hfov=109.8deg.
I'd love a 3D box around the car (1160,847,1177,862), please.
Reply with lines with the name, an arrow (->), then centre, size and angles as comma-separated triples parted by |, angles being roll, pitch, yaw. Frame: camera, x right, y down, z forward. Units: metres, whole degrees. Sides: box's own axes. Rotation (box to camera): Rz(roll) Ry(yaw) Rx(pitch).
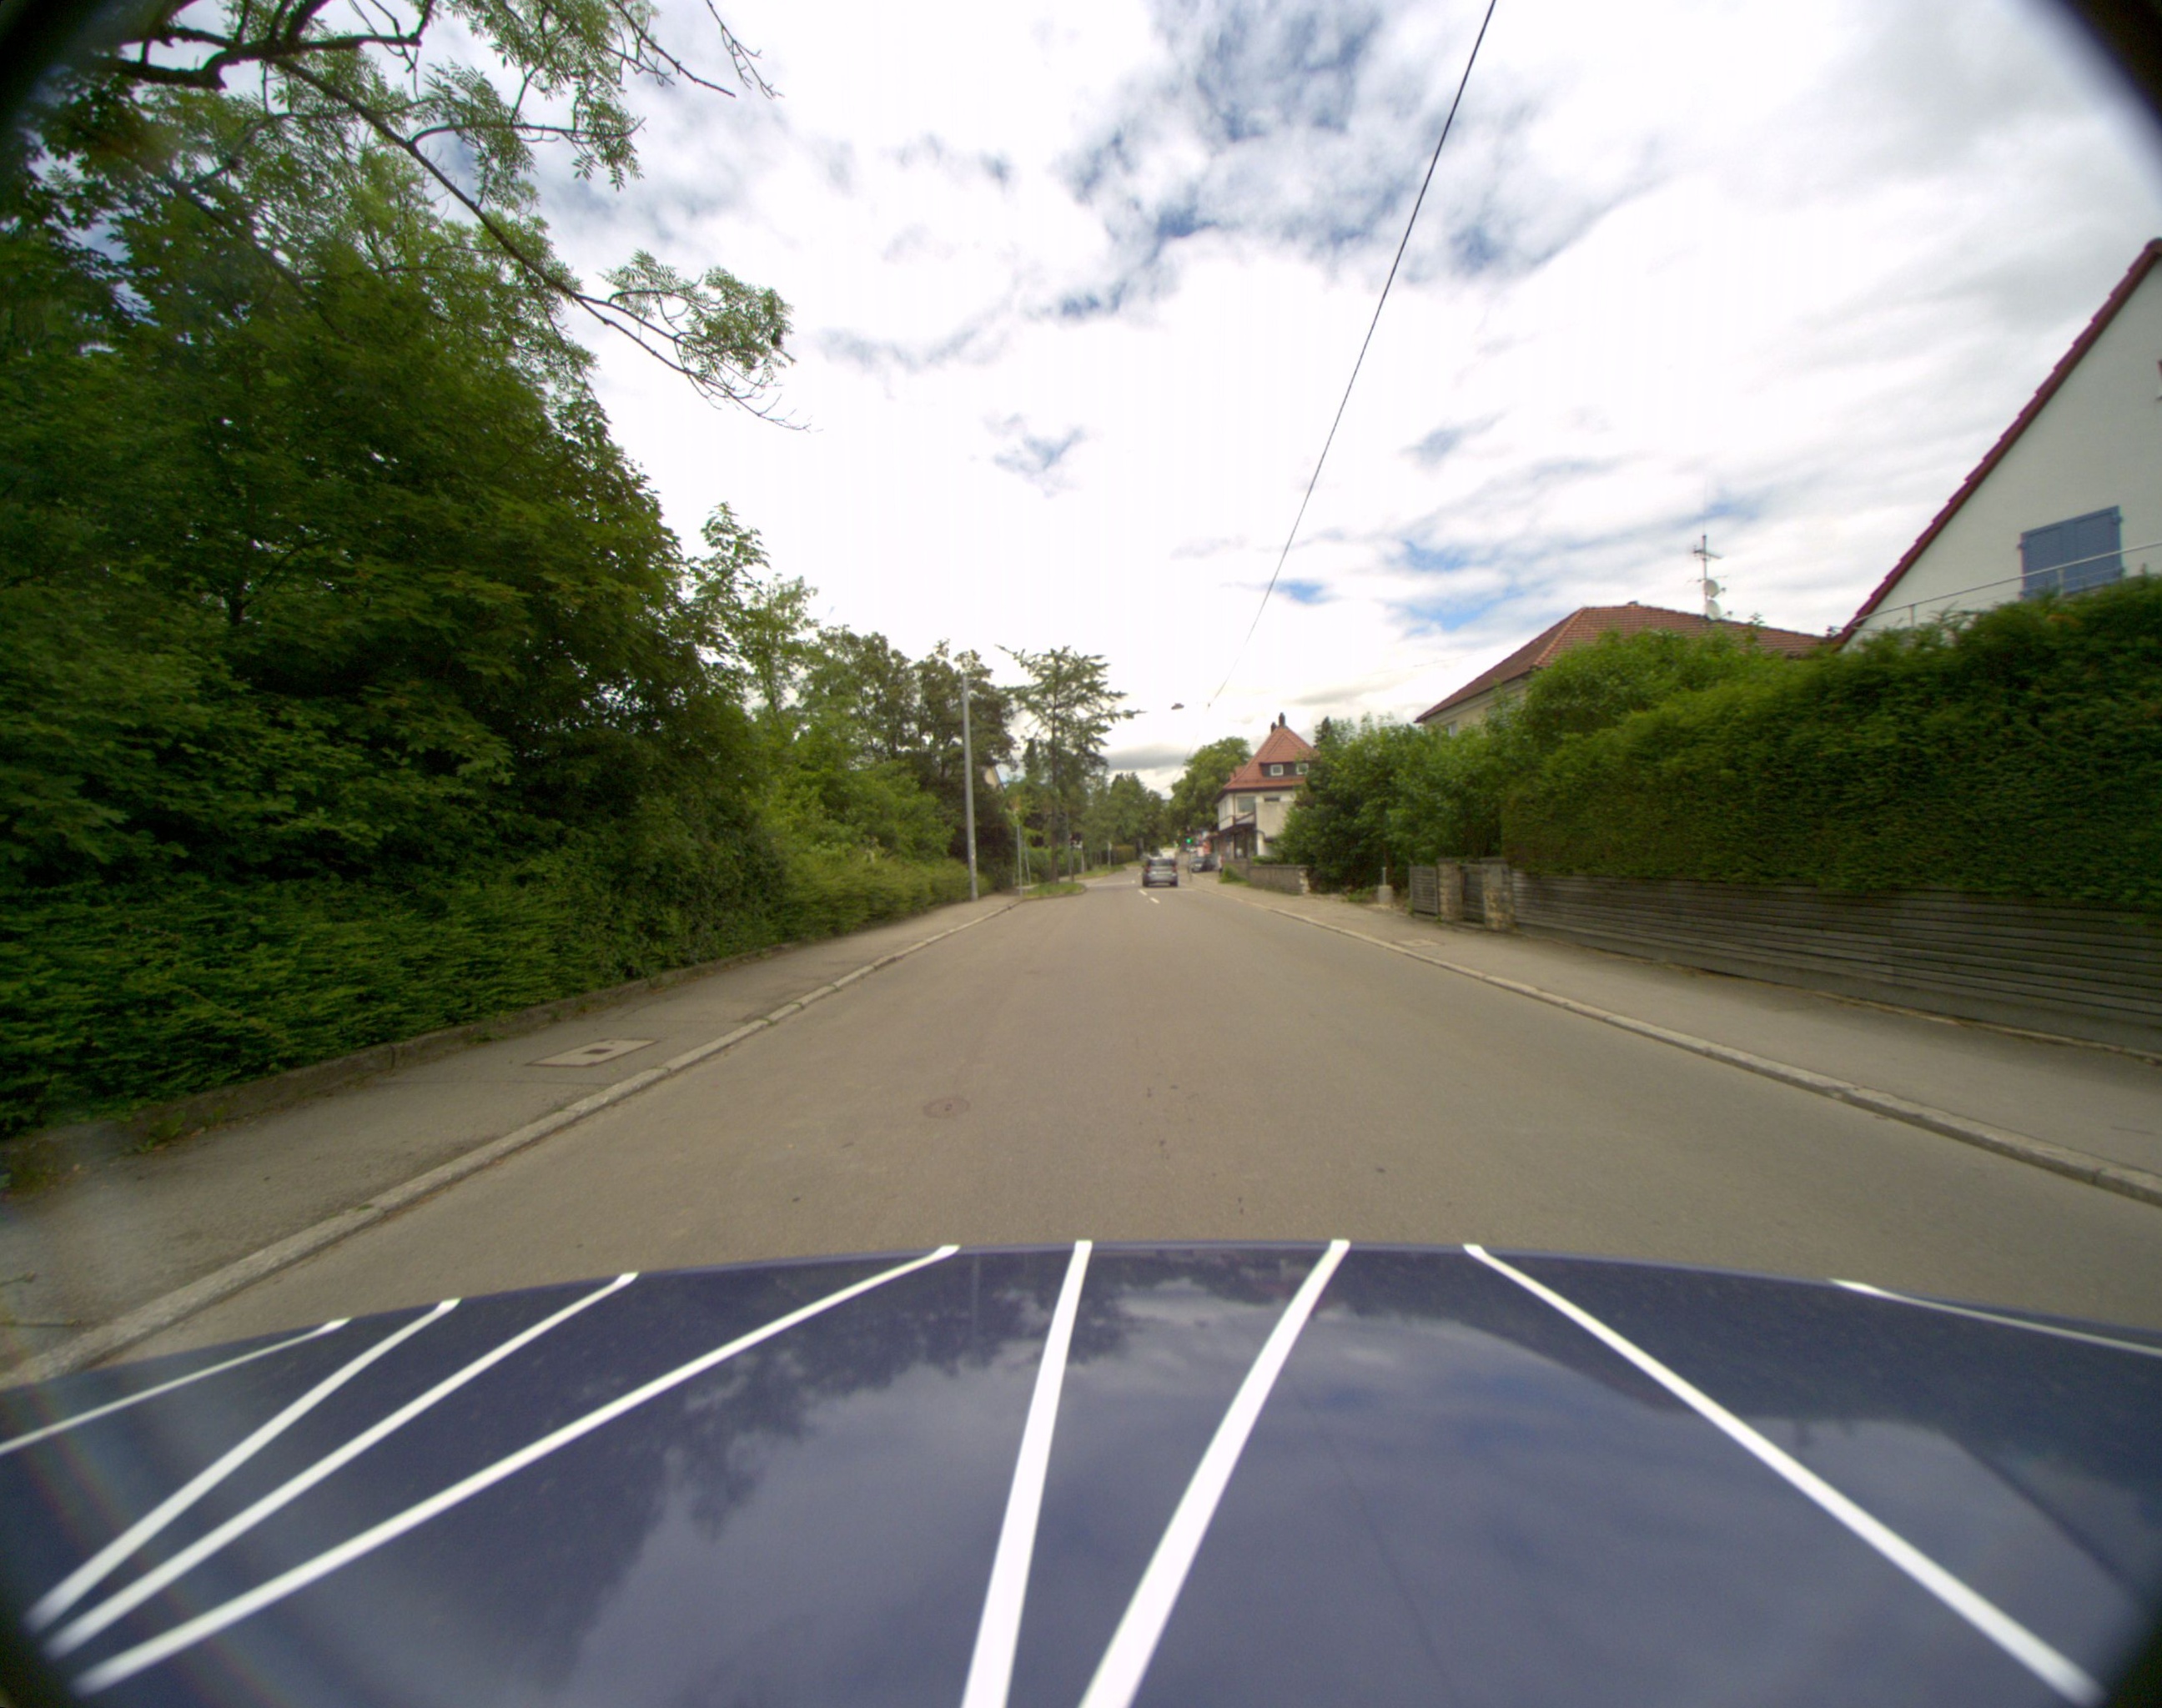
car -> 12.234, -0.001, 106.186 | 1.884, 1.905, 4.833 | -4, 0, 3

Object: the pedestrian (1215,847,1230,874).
pedestrian -> 9.405, 0.405, 50.596 | 0.821, 1.734, 0.604 | -4, 1, 4

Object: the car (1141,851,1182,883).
car -> 4.394, 0.689, 42.106 | 1.845, 1.646, 4.138 | 1, 0, 0

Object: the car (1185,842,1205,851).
car -> 25.193, -1.591, 168.323 | 3.993, 1.729, 2.002 | -4, 1, 16

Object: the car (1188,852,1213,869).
car -> 10.832, 0.590, 68.787 | 1.821, 1.343, 3.394 | -4, 0, 13
